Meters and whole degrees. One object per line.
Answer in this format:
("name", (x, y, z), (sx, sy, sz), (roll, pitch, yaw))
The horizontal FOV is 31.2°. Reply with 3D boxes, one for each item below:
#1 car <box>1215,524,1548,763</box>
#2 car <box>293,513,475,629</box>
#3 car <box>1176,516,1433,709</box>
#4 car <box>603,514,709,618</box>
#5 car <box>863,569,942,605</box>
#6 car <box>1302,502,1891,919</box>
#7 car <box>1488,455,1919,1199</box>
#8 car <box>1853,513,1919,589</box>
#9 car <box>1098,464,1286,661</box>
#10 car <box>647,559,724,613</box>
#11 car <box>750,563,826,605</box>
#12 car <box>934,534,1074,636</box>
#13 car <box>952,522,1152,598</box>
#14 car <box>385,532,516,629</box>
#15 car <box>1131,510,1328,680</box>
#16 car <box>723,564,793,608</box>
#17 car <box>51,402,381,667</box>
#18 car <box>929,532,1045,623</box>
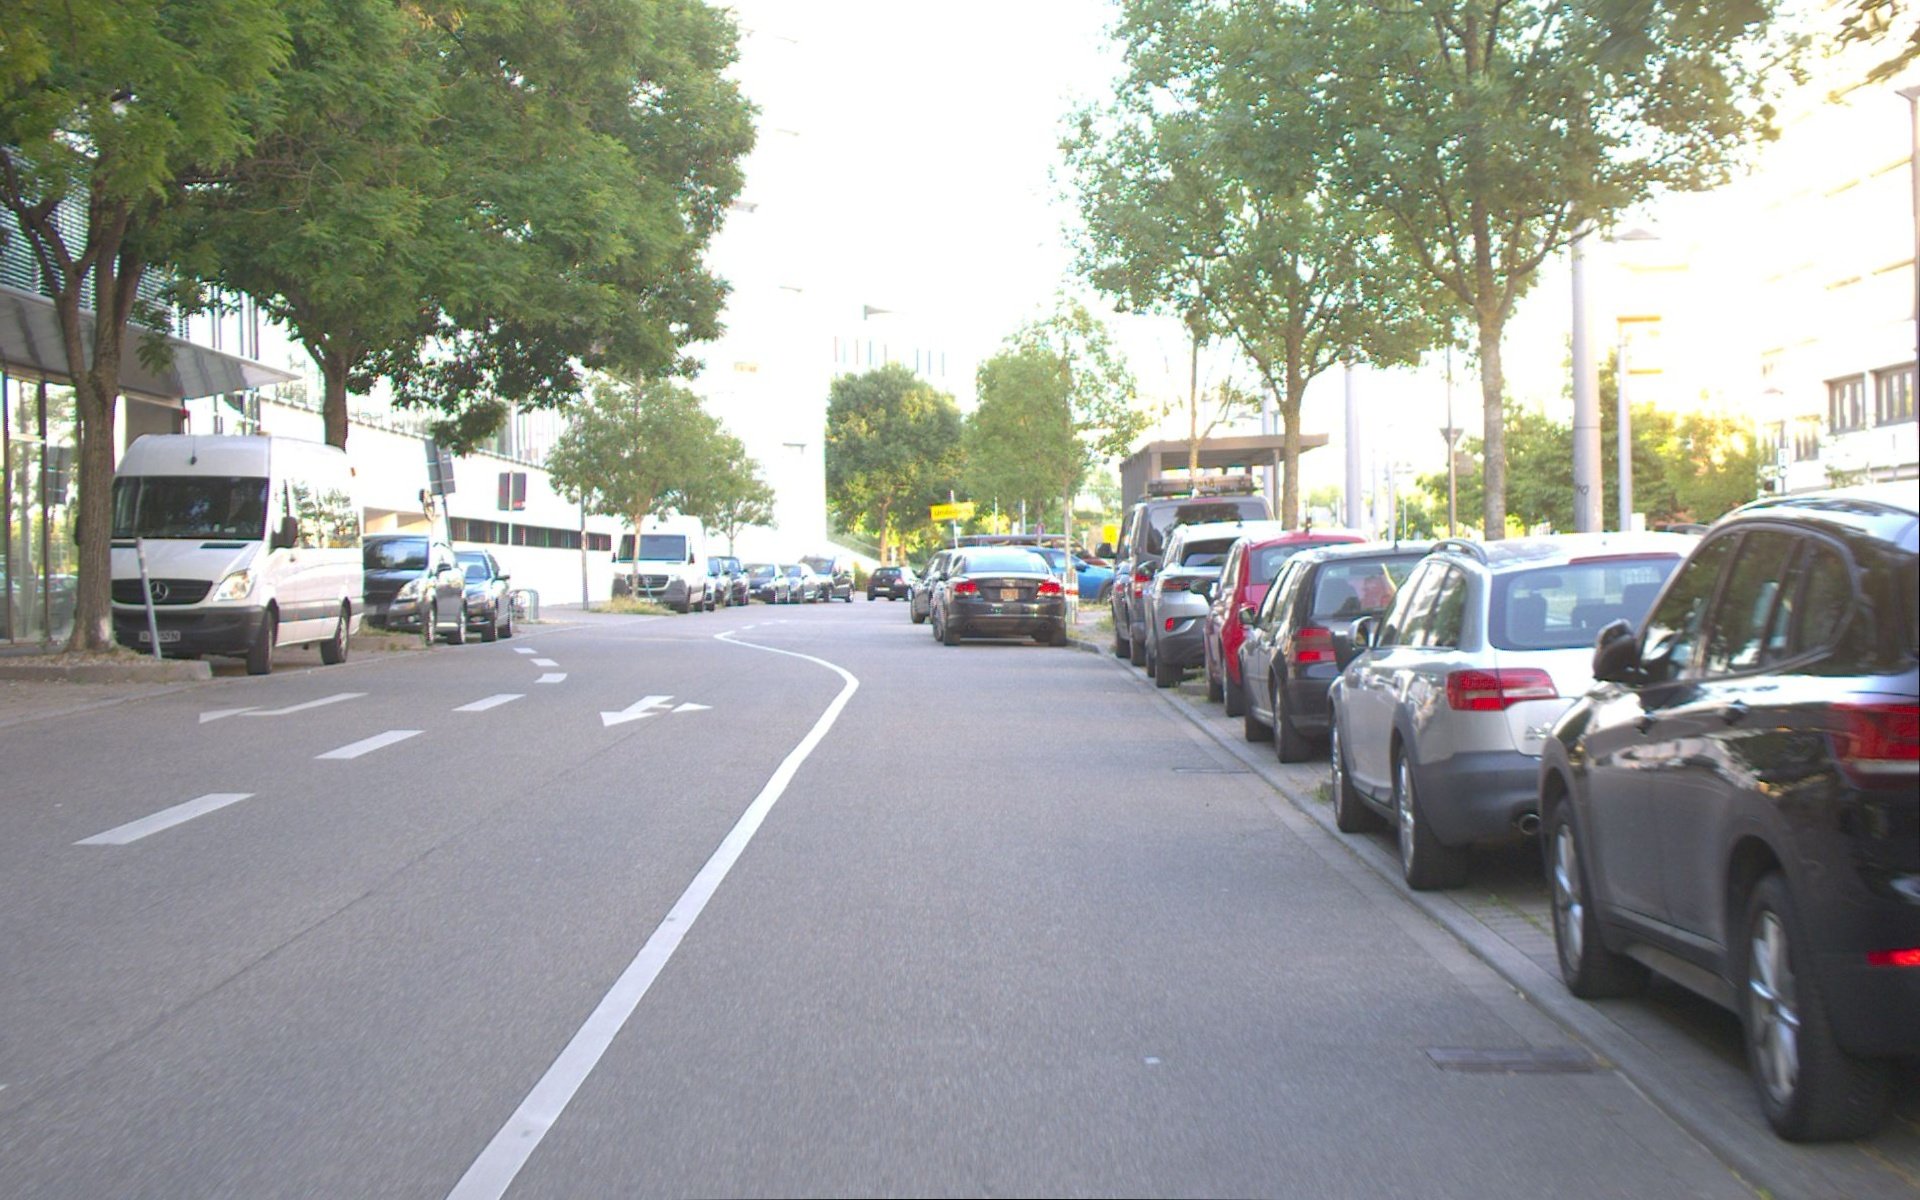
("car", (2.828, 0.244, 23.844), (1.707, 1.446, 4.000), (-2, 1, -1))
("car", (-8.118, -0.438, 48.783), (1.844, 1.566, 4.267), (0, 1, 0))
("car", (2.928, 0.071, 29.972), (1.707, 1.488, 4.131), (-2, 1, -1))
("car", (-7.982, -0.941, 90.852), (1.958, 2.608, 6.892), (1, 1, 1))
("car", (-2.335, -0.550, 141.402), (1.946, 1.378, 4.395), (2, 1, 17))
("car", (2.689, 0.380, 15.641), (1.796, 1.491, 4.781), (-4, 1, 1))
("car", (2.716, 0.445, 9.594), (1.707, 1.637, 4.267), (-2, 1, -1))
("car", (20.605, -1.086, 70.722), (3.987, 1.482, 1.675), (-3, 1, 1))
("car", (2.736, -0.465, 41.585), (1.804, 2.169, 4.736), (-2, 1, -1))
("car", (-7.748, -0.411, 97.240), (1.756, 1.435, 3.901), (1, 1, 1))
("car", (-6.276, -0.603, 126.128), (1.723, 1.452, 4.692), (1, 1, 10))
("car", (0.612, -0.251, 51.543), (1.787, 1.447, 4.516), (-1, 1, -3))
("car", (2.023, -0.882, 75.447), (3.988, 1.515, 1.927), (-2, 0, -35))
("car", (-8.023, -0.339, 54.424), (1.714, 1.447, 4.400), (-1, 1, -4))
("car", (2.711, -0.084, 35.370), (1.707, 1.575, 4.479), (-2, 1, 1))
("car", (-7.057, -0.494, 120.546), (1.723, 1.452, 4.270), (1, 1, 6))
("car", (-8.062, -0.724, 38.036), (2.100, 2.654, 6.951), (0, 1, 0))
("car", (0.415, -0.392, 57.406), (1.676, 1.447, 4.188), (-1, 1, -3))
